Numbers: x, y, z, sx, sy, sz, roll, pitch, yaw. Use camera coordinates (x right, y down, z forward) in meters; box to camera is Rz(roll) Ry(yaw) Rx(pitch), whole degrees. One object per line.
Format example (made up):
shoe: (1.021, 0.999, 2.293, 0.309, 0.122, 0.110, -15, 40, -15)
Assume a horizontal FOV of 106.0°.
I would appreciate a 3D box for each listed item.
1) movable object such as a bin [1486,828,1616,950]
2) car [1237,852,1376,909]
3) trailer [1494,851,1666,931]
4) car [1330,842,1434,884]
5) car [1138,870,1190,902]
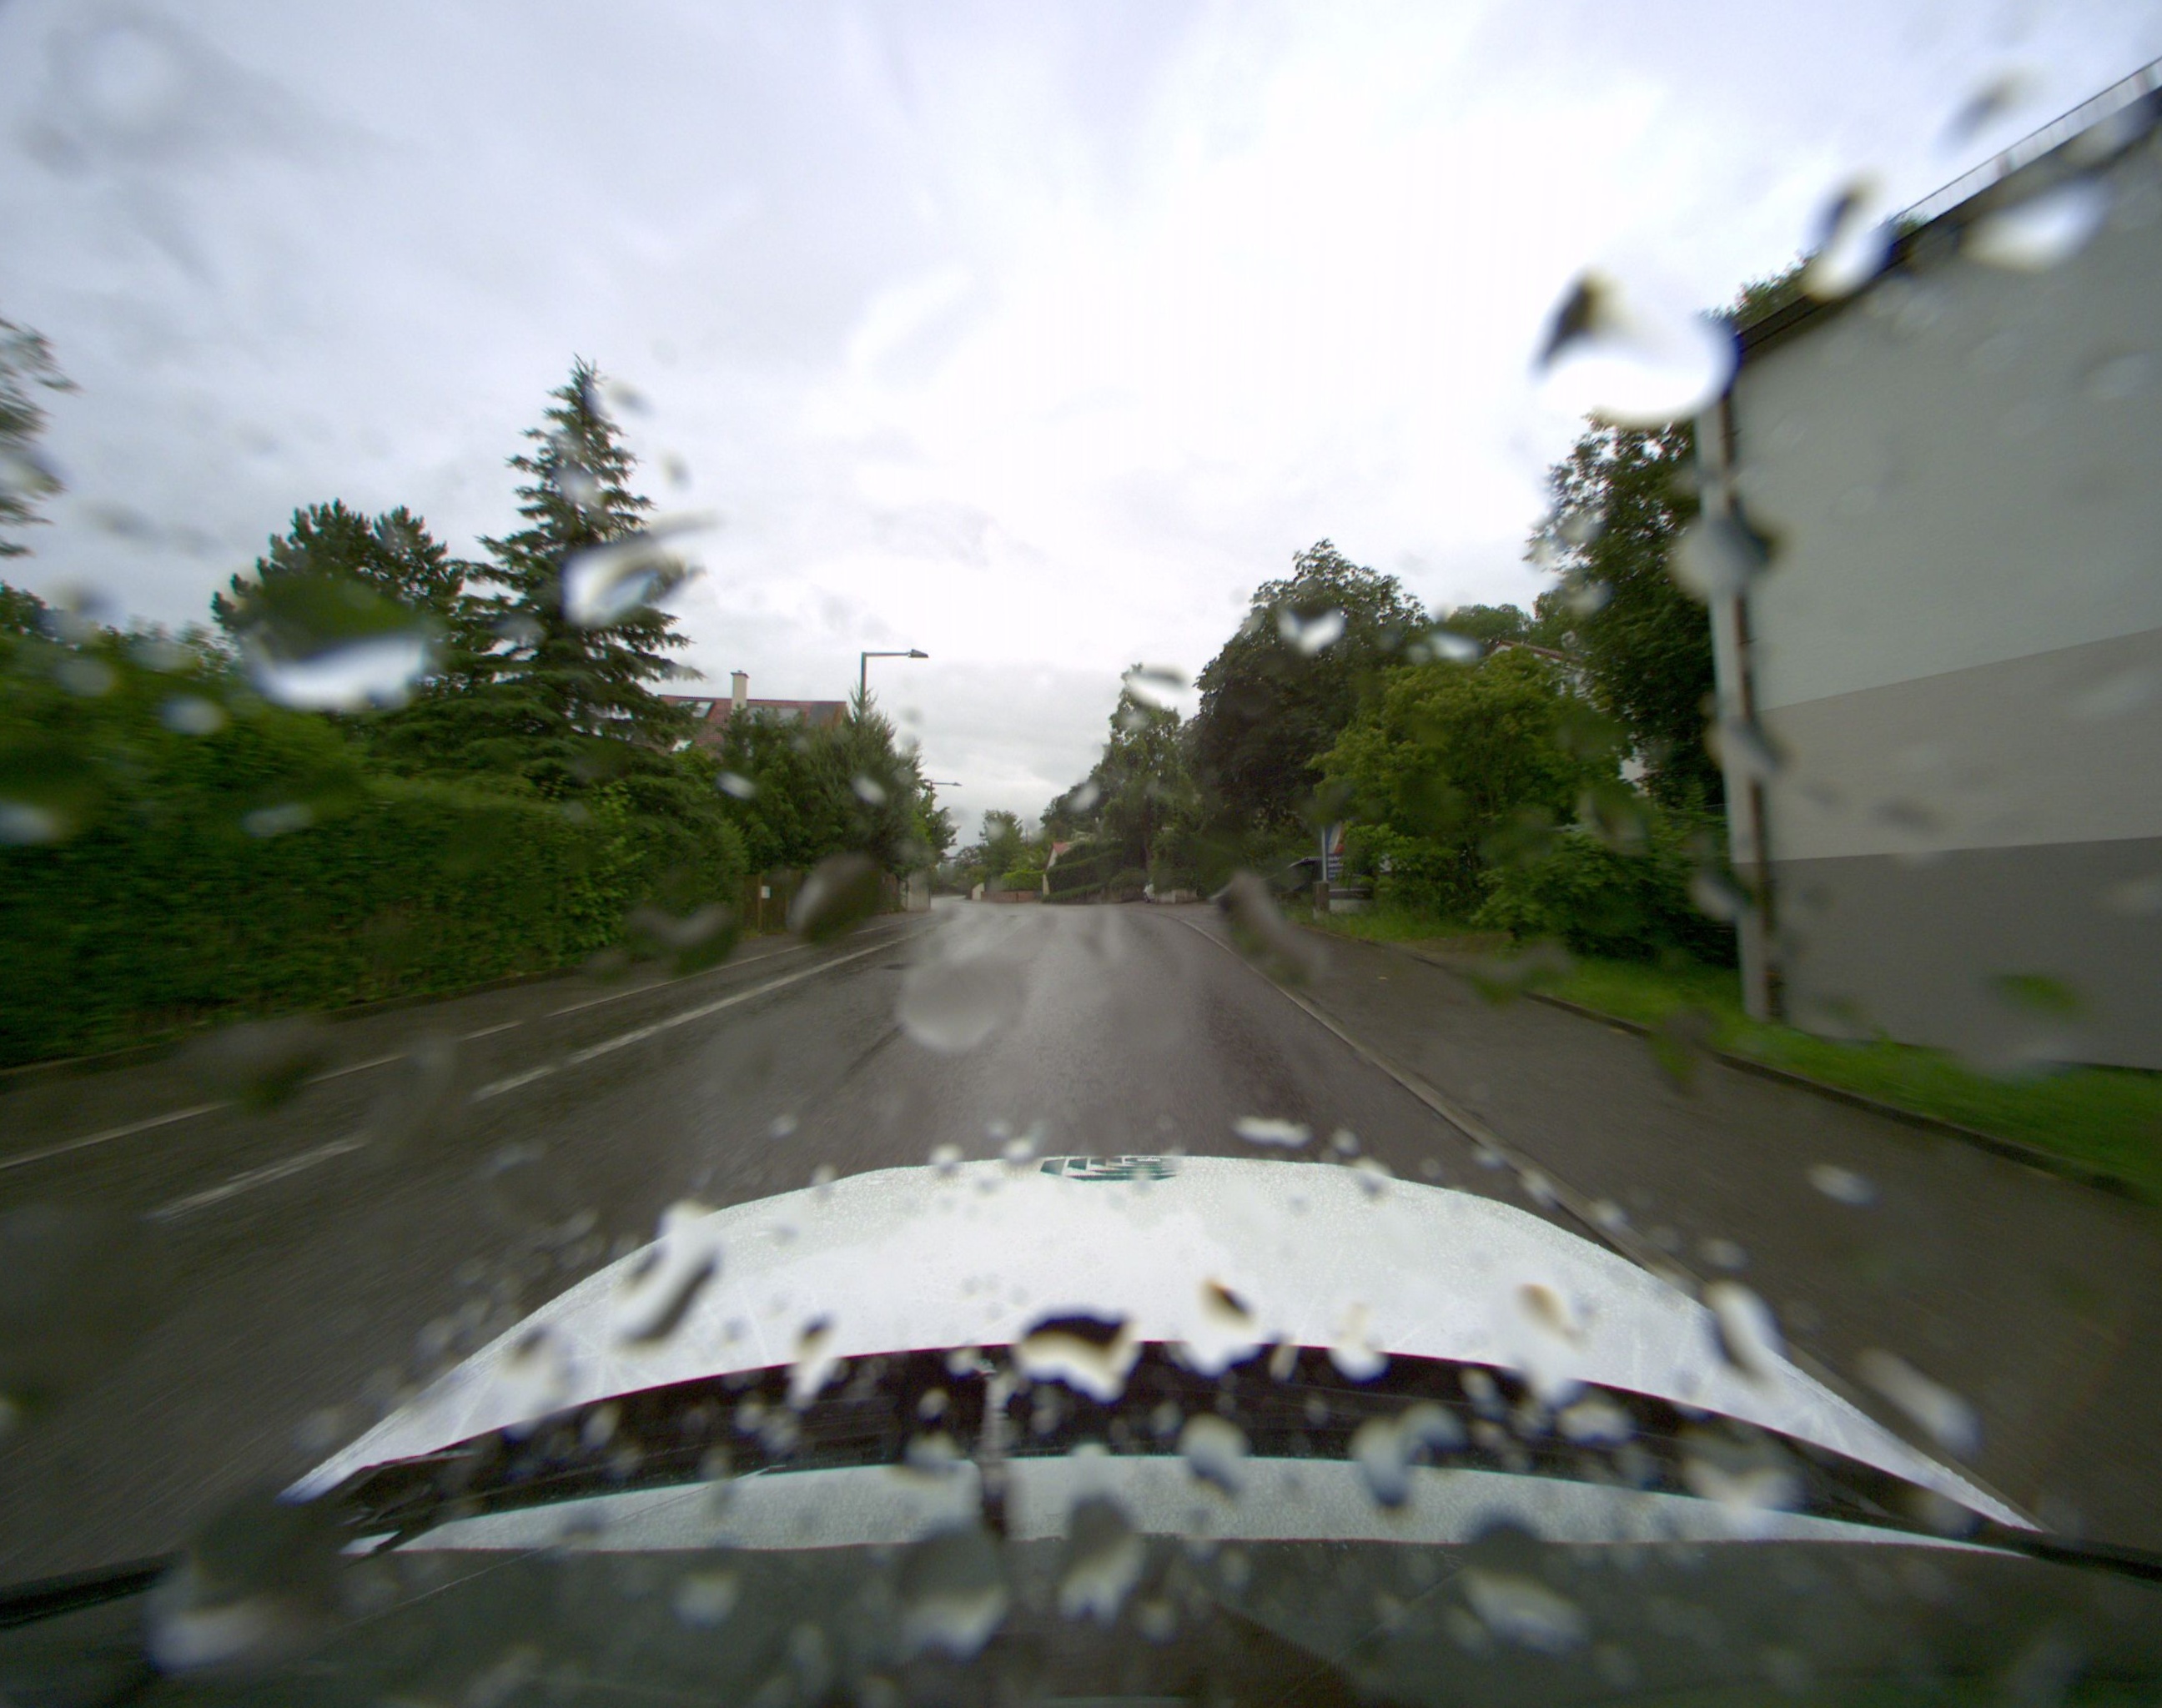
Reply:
movable object such as a bin: (6.152, 0.431, 10.671, 1.249, 1.497, 0.973, -1, -1, -32)
car: (7.430, 0.887, 27.041, 4.301, 1.717, 1.734, 1, -3, 13)
trailer: (12.396, 0.879, 20.428, 1.767, 1.823, 3.255, 1, -2, -24)
car: (13.578, 0.395, 36.758, 4.282, 1.634, 1.715, -2, -4, -22)
car: (4.478, 1.778, 44.562, 1.534, 1.535, 3.826, -5, -2, -14)
